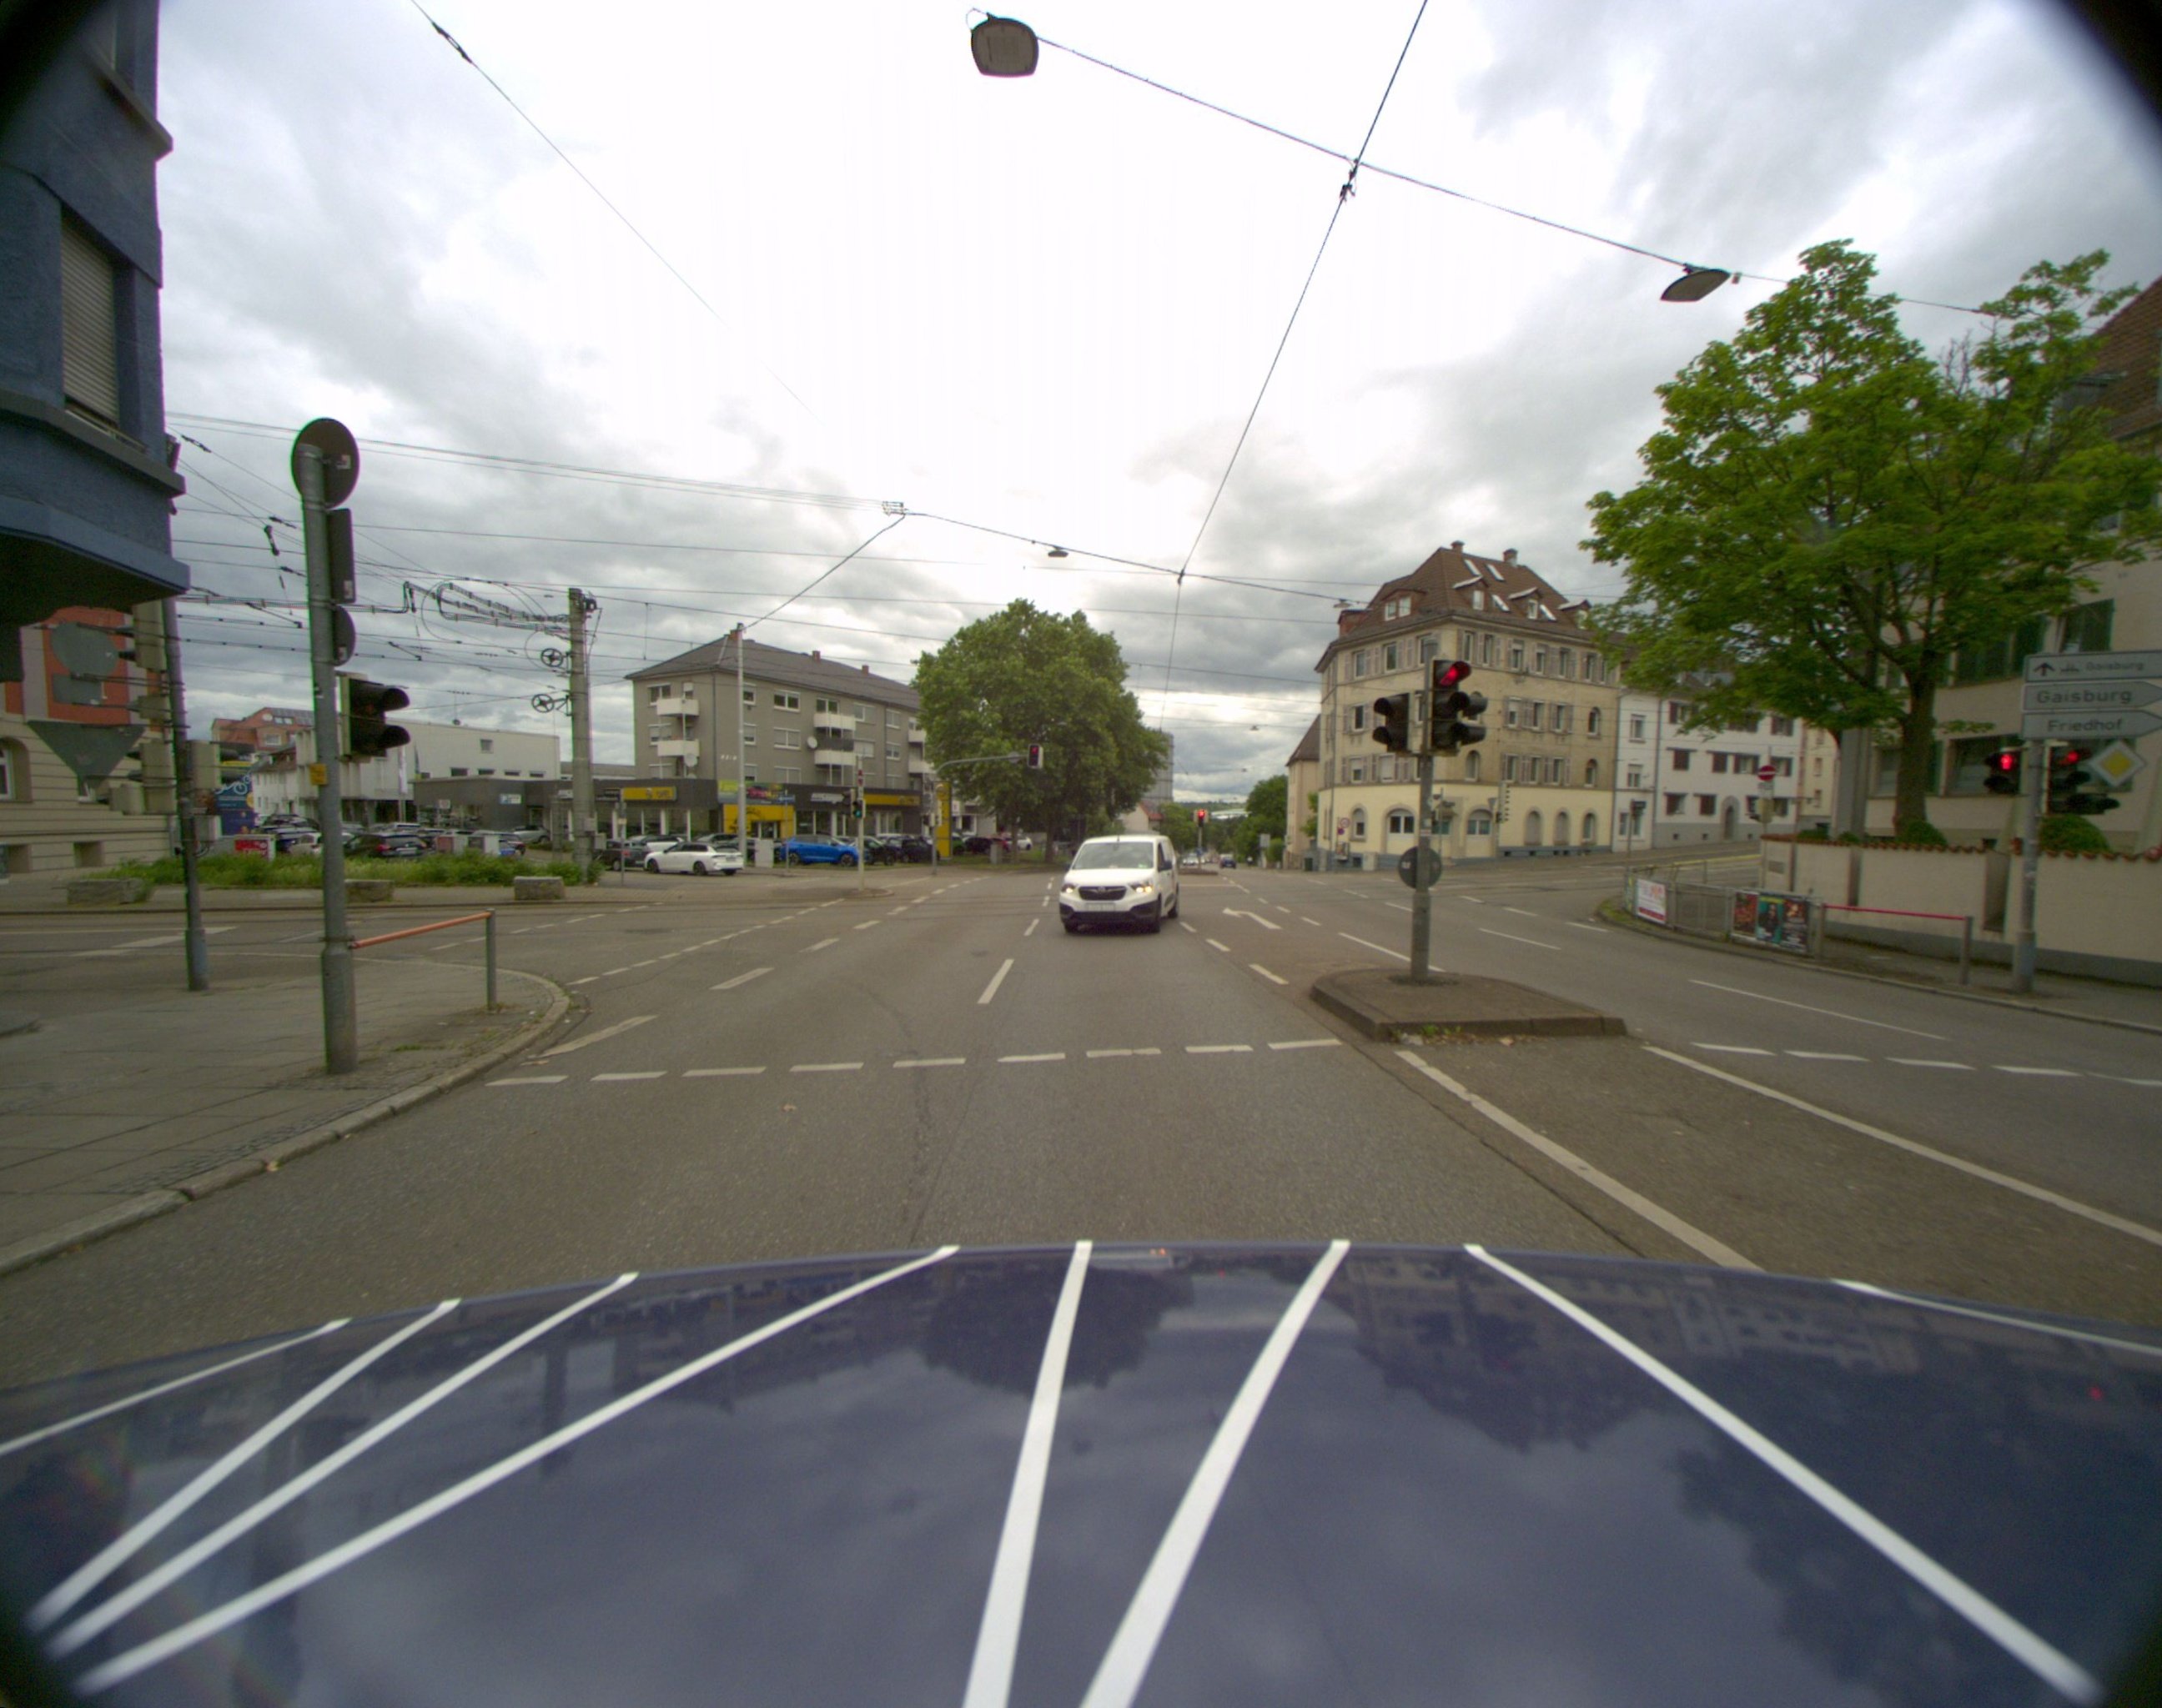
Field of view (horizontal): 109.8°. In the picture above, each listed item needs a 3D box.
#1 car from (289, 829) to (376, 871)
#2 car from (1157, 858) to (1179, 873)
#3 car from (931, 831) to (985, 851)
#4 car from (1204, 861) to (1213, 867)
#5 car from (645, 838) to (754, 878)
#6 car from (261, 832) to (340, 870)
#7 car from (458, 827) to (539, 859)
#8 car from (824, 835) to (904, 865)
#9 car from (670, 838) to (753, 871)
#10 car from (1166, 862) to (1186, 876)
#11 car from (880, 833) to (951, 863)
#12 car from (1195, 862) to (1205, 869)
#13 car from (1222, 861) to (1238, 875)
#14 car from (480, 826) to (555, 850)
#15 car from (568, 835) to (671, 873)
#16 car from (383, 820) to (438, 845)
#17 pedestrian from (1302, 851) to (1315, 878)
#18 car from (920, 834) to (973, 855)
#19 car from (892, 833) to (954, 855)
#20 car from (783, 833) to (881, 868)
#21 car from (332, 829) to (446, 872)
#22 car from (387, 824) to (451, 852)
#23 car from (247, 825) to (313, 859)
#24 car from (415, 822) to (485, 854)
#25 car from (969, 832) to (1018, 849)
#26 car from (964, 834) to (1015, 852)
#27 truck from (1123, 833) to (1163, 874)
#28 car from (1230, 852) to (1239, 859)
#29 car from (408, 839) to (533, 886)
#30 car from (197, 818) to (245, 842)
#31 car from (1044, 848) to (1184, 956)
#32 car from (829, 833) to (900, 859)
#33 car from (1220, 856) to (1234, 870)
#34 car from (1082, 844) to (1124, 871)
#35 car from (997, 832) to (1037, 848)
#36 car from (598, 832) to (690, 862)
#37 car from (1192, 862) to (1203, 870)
[{"bbox_3d":[-32.558,-0.194,33.016,4.128,1.623,1.922,3,1,34],"label":"car"},{"bbox_3d":[9.891,1.240,86.179,1.996,1.620,4.413,-1,0,13],"label":"car"},{"bbox_3d":[-10.213,-1.074,63.018,4.006,1.496,1.859,1,1,-25],"label":"car"},{"bbox_3d":[34.131,2.710,203.172,1.996,1.590,4.004,-1,0,12],"label":"car"},{"bbox_3d":[-16.649,0.149,33.183,4.131,1.526,1.921,2,1,20],"label":"car"},{"bbox_3d":[-37.053,-0.170,36.055,4.128,1.623,1.922,3,1,34],"label":"car"},{"bbox_3d":[-30.912,-0.573,40.315,4.129,1.526,1.922,3,1,29],"label":"car"},{"bbox_3d":[-12.053,-0.191,42.411,1.824,1.468,4.009,3,0,34],"label":"car"},{"bbox_3d":[-21.154,0.016,43.644,1.708,1.770,4.252,2,1,20],"label":"car"},{"bbox_3d":[11.754,1.827,93.992,1.996,1.620,4.413,-1,0,13],"label":"car"},{"bbox_3d":[-10.489,-0.356,48.354,1.823,1.599,4.179,8,3,33],"label":"car"},{"bbox_3d":[27.203,2.679,173.561,1.996,1.590,4.004,-1,0,12],"label":"car"},{"bbox_3d":[17.421,1.611,88.610,1.757,1.439,3.755,0,0,13],"label":"car"},{"bbox_3d":[-39.424,-1.137,53.234,1.713,1.526,3.903,3,1,38],"label":"car"},{"bbox_3d":[-21.308,-0.008,35.082,4.131,1.526,1.921,2,1,22],"label":"car"},{"bbox_3d":[-44.559,-1.414,50.454,4.128,1.526,1.923,3,1,37],"label":"car"},{"bbox_3d":[16.795,0.780,56.071,0.746,1.925,0.904,-2,0,10],"label":"pedestrian"},{"bbox_3d":[-10.308,-0.726,58.204,3.616,1.544,1.617,1,1,-28],"label":"car"},{"bbox_3d":[-11.541,-0.732,55.671,3.994,1.541,1.864,1,1,7],"label":"car"},{"bbox_3d":[-12.498,-0.176,38.322,4.256,1.568,1.830,2,0,1],"label":"car"},{"bbox_3d":[-28.054,-0.155,30.785,4.130,1.526,1.922,2,1,24],"label":"car"},{"bbox_3d":[-40.145,-0.984,46.041,4.128,1.526,1.922,3,1,34],"label":"car"},{"bbox_3d":[-41.646,-0.650,39.503,4.128,1.623,1.923,3,1,37],"label":"car"},{"bbox_3d":[-36.137,-0.928,43.511,4.128,1.636,1.922,3,1,33],"label":"car"},{"bbox_3d":[-7.967,-1.227,68.970,4.008,1.496,1.858,1,1,-34],"label":"car"},{"bbox_3d":[-7.937,-0.938,66.265,4.008,1.496,1.857,1,1,-37],"label":"car"},{"bbox_3d":[5.797,-0.057,69.452,2.769,3.481,8.177,-1,0,11],"label":"truck"},{"bbox_3d":[36.026,0.243,178.286,1.996,1.590,4.004,-1,0,12],"label":"car"},{"bbox_3d":[-22.885,0.284,28.492,4.130,1.526,1.922,2,1,24],"label":"car"},{"bbox_3d":[-62.297,-1.733,55.028,4.128,1.623,1.923,3,1,36],"label":"car"},{"bbox_3d":[0.862,0.810,15.281,1.886,1.827,4.681,-1,0,14],"label":"car"},{"bbox_3d":[-13.943,-0.527,49.028,3.993,1.541,1.864,1,1,11],"label":"car"},{"bbox_3d":[21.141,1.330,110.270,1.868,1.873,4.289,3,0,10],"label":"car"},{"bbox_3d":[1.379,0.190,45.723,1.997,1.517,4.260,-1,0,9],"label":"car"},{"bbox_3d":[-6.404,-1.346,75.740,3.625,1.496,1.786,0,1,-42],"label":"car"},{"bbox_3d":[-24.494,-0.364,42.689,1.789,1.526,4.126,3,1,29],"label":"car"},{"bbox_3d":[24.352,2.594,158.803,1.996,1.590,4.004,-1,0,12],"label":"car"}]
